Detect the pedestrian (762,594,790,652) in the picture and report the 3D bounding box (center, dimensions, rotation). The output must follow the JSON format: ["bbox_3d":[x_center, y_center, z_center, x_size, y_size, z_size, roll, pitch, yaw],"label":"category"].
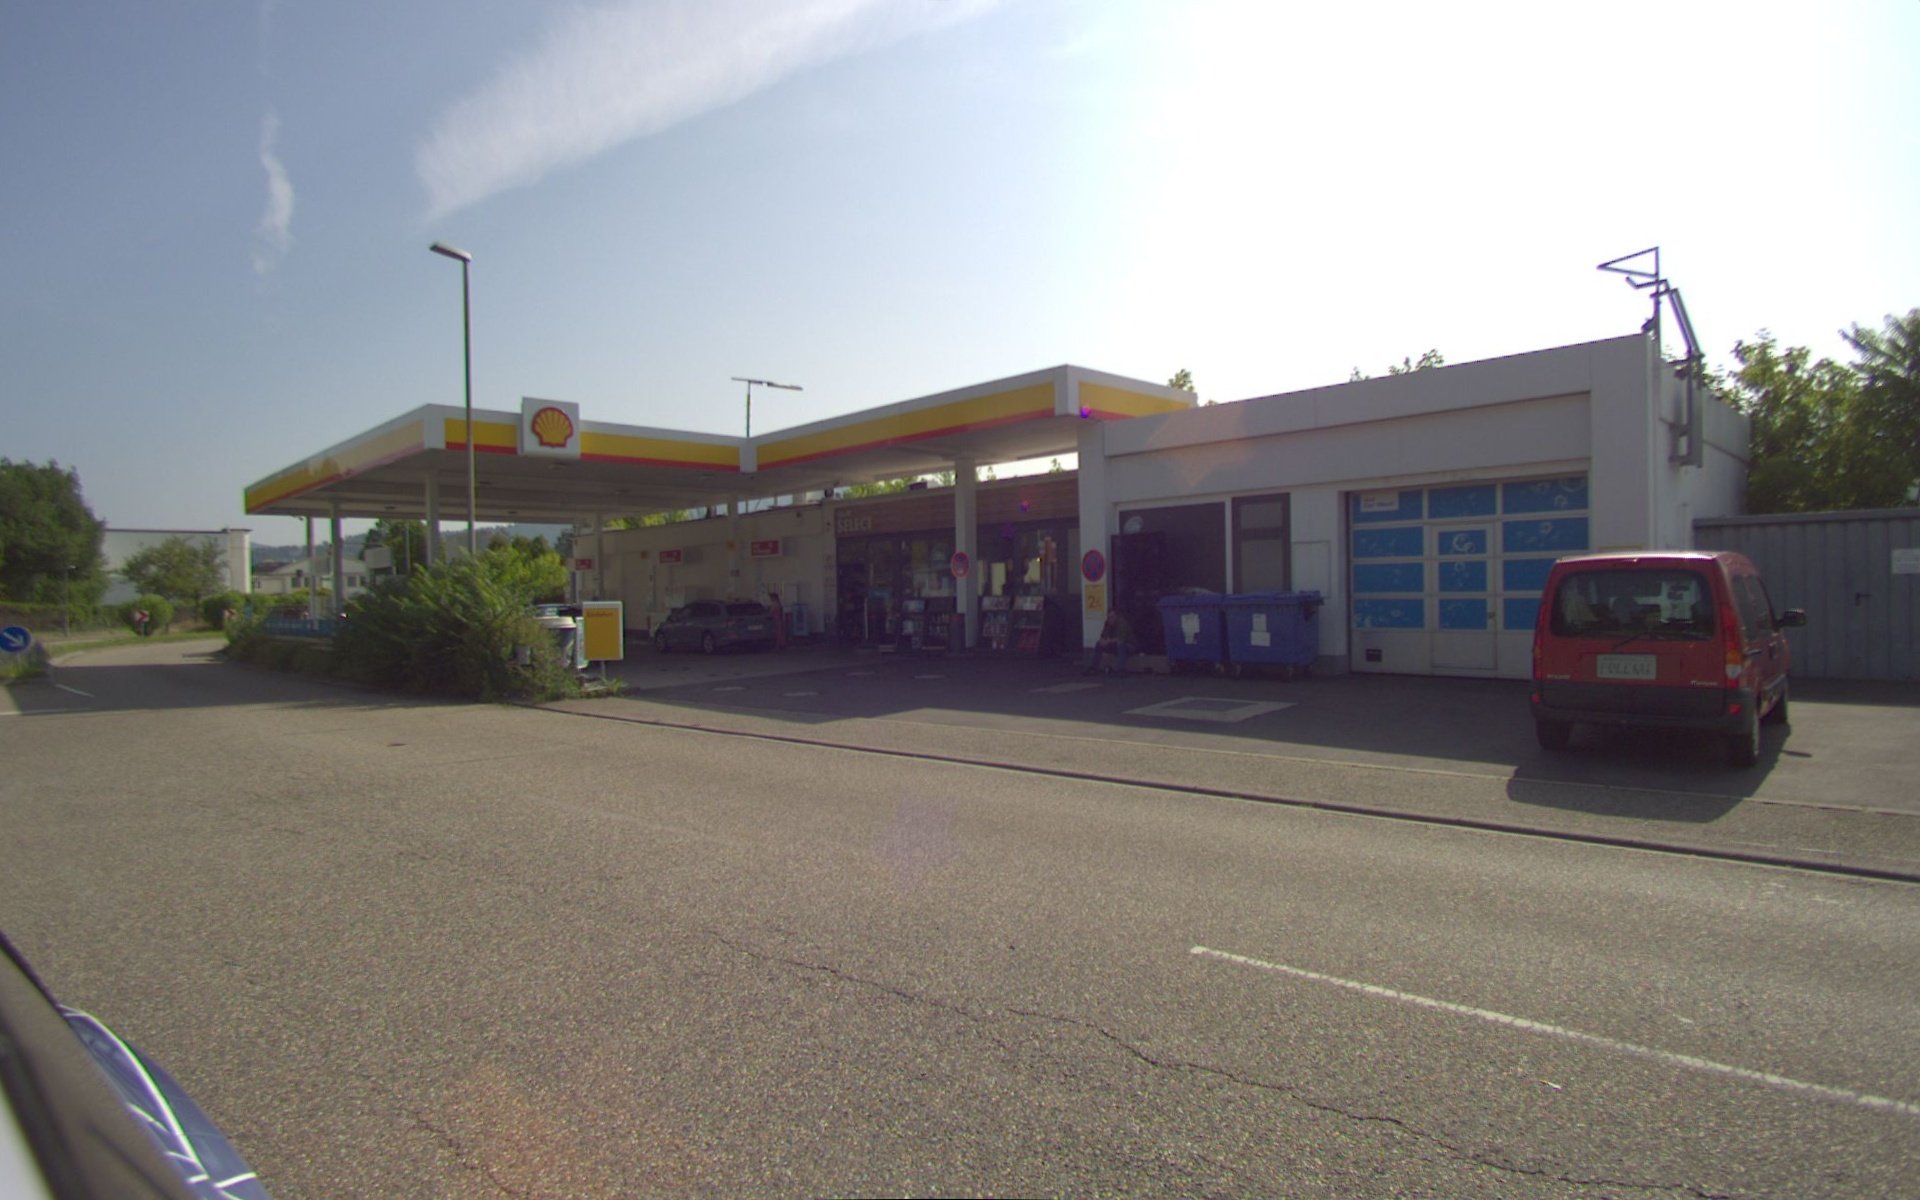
[{"bbox_3d":[-5.039,0.617,27.718,0.552,1.559,0.535,0,0,-44],"label":"pedestrian"}]

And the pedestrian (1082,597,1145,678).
[{"bbox_3d":[2.562,0.615,16.944,0.816,1.305,0.608,-1,1,44],"label":"pedestrian"}]

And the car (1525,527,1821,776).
[{"bbox_3d":[6.862,0.308,9.579,1.703,1.809,3.734,-1,3,44],"label":"car"}]

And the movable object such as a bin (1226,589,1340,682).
[{"bbox_3d":[4.881,0.507,15.290,1.227,1.252,1.168,-6,4,-44],"label":"movable object such as a bin"}]

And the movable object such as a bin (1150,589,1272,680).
[{"bbox_3d":[4.041,0.521,16.282,1.227,1.299,1.436,-6,4,-44],"label":"movable object such as a bin"}]

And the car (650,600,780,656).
[{"bbox_3d":[-6.822,0.733,27.944,1.609,1.422,4.231,0,0,-44],"label":"car"}]
